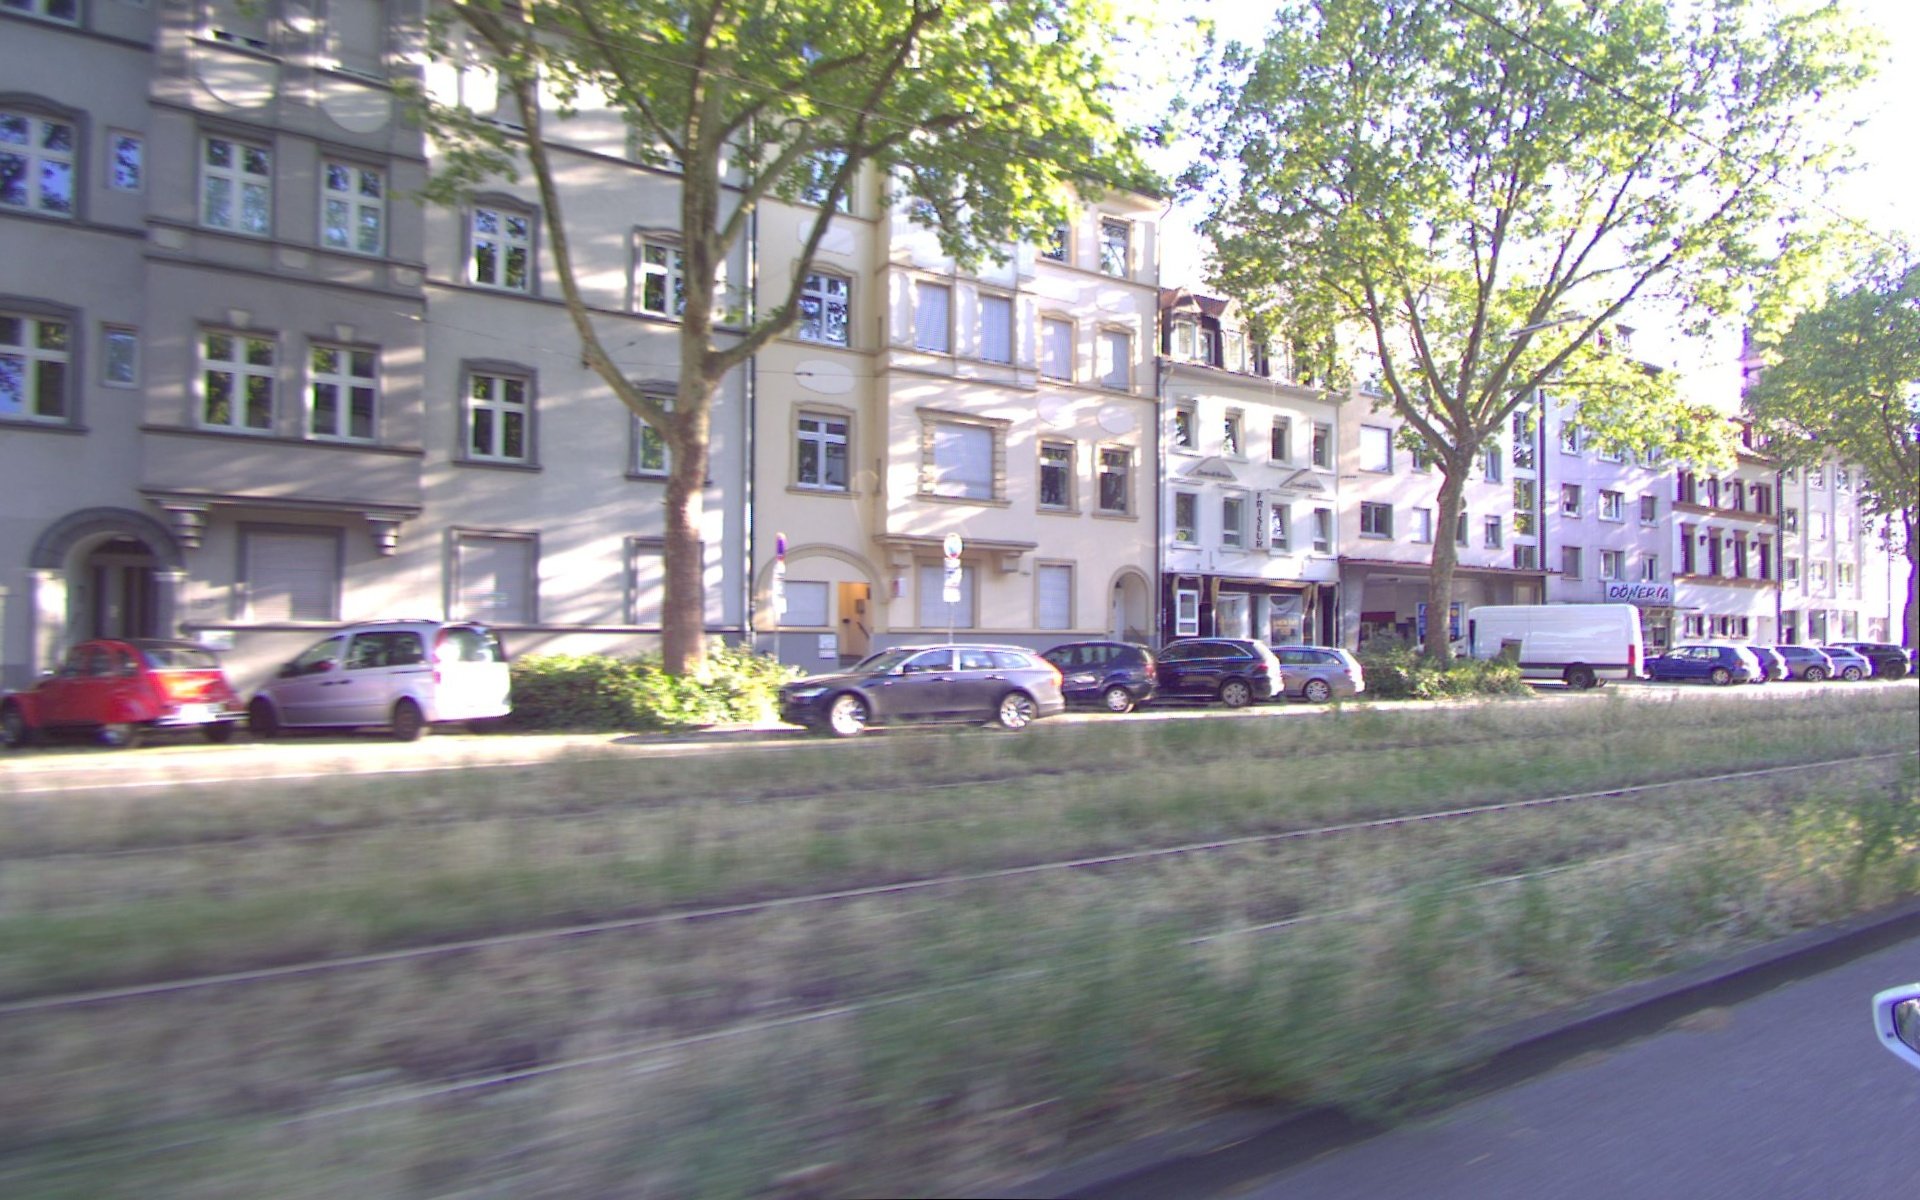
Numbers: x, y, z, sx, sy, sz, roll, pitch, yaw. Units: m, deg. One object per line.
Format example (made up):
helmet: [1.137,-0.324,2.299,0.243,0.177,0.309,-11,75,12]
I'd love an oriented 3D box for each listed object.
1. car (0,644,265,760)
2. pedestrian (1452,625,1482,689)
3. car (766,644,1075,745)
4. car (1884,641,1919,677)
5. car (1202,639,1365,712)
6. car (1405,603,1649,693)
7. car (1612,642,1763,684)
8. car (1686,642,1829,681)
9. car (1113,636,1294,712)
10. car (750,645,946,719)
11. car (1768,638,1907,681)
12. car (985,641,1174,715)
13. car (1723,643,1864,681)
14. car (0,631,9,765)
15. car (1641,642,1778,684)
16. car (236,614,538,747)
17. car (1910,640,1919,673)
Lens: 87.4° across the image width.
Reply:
car: [-12.397,1.419,14.797,3.922,1.467,1.586,0,-2,21]
pedestrian: [16.437,1.841,32.572,0.623,2.040,0.635,1,-2,-29]
car: [-0.607,1.518,16.737,4.861,1.479,1.740,2,-3,-27]
car: [49.255,2.988,50.115,4.227,1.760,1.859,0,-2,20]
car: [8.434,1.921,26.163,3.922,1.721,1.856,0,-2,22]
car: [18.767,1.539,33.536,6.855,2.713,2.176,-1,-3,40]
car: [27.399,2.345,37.963,1.840,1.477,4.270,3,-3,-35]
car: [32.855,2.511,41.526,4.227,1.477,1.859,0,-2,20]
car: [5.950,1.799,24.600,3.928,1.721,1.854,-2,-4,29]
car: [-2.403,1.684,21.311,3.927,1.374,1.584,0,-3,29]
car: [38.821,2.611,44.585,4.227,1.760,1.859,0,-2,20]
car: [2.779,1.823,23.444,3.928,1.573,1.853,-4,-3,29]
car: [35.501,2.620,42.922,4.227,1.477,1.859,0,-2,20]
car: [-14.641,1.236,13.046,3.922,1.746,1.785,0,-2,21]
car: [29.377,2.445,39.467,4.245,1.477,1.851,-1,-3,38]
car: [-9.209,1.237,16.278,3.919,1.906,2.001,0,-2,15]
car: [52.481,2.969,52.126,4.227,1.760,1.859,0,-2,20]
